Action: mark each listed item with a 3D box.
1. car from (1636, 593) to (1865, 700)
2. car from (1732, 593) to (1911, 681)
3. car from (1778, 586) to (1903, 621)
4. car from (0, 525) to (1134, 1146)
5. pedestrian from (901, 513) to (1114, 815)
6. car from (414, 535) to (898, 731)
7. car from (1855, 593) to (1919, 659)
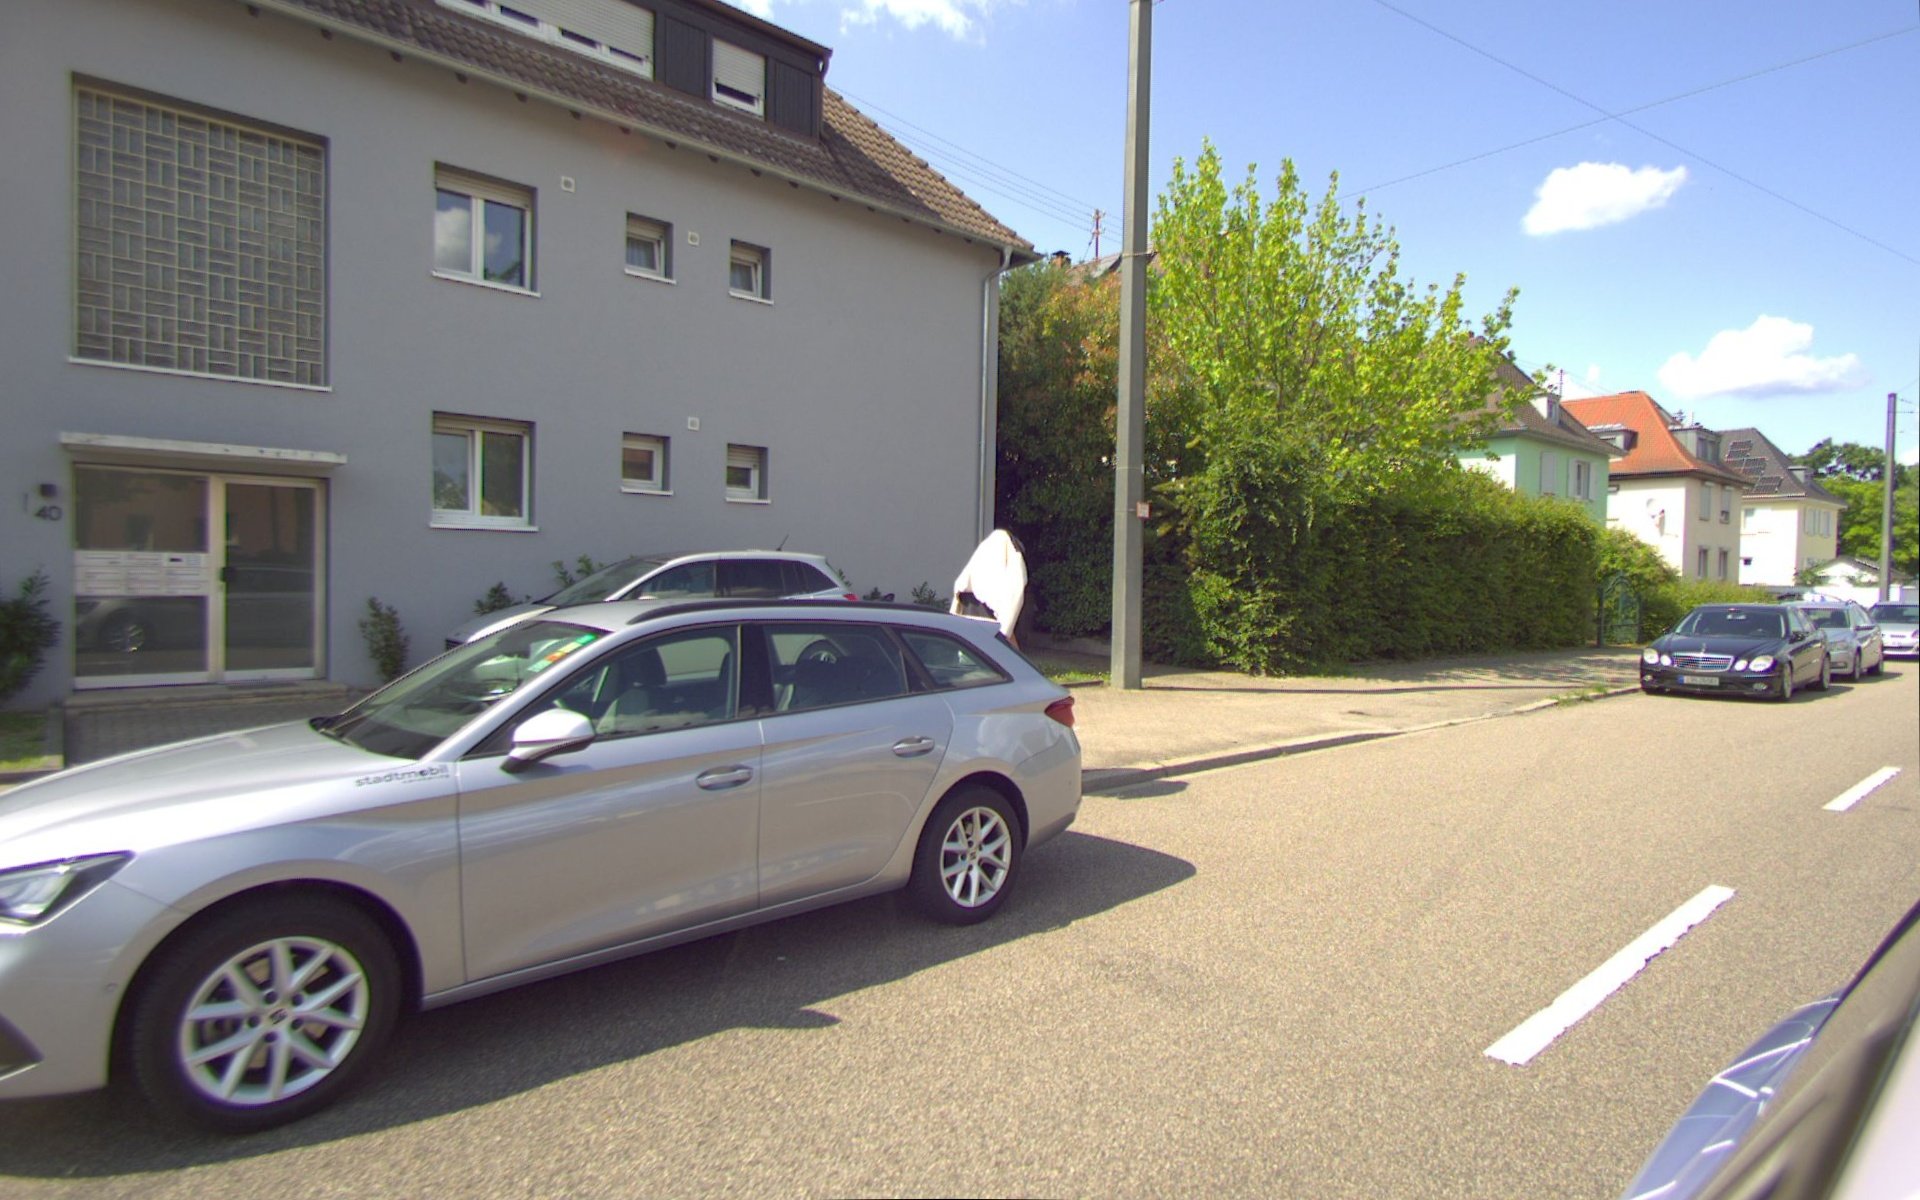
[{"bbox_3d":[12.803,0.638,16.265,4.967,1.462,1.904,0,0,-40],"label":"car"},{"bbox_3d":[16.867,0.620,19.731,4.918,1.473,1.893,-1,1,-40],"label":"car"},{"bbox_3d":[44.435,0.148,51.140,1.731,1.478,4.464,0,3,-37],"label":"car"},{"bbox_3d":[-1.429,0.527,4.336,4.562,1.472,1.818,-1,1,-41],"label":"car"},{"bbox_3d":[0.331,0.394,7.349,1.071,1.970,1.115,0,2,-37],"label":"pedestrian"},{"bbox_3d":[-3.031,0.207,10.845,4.690,1.667,1.759,-1,3,-44],"label":"car"},{"bbox_3d":[24.086,0.607,25.382,4.019,1.508,1.742,-1,1,-37],"label":"car"}]
